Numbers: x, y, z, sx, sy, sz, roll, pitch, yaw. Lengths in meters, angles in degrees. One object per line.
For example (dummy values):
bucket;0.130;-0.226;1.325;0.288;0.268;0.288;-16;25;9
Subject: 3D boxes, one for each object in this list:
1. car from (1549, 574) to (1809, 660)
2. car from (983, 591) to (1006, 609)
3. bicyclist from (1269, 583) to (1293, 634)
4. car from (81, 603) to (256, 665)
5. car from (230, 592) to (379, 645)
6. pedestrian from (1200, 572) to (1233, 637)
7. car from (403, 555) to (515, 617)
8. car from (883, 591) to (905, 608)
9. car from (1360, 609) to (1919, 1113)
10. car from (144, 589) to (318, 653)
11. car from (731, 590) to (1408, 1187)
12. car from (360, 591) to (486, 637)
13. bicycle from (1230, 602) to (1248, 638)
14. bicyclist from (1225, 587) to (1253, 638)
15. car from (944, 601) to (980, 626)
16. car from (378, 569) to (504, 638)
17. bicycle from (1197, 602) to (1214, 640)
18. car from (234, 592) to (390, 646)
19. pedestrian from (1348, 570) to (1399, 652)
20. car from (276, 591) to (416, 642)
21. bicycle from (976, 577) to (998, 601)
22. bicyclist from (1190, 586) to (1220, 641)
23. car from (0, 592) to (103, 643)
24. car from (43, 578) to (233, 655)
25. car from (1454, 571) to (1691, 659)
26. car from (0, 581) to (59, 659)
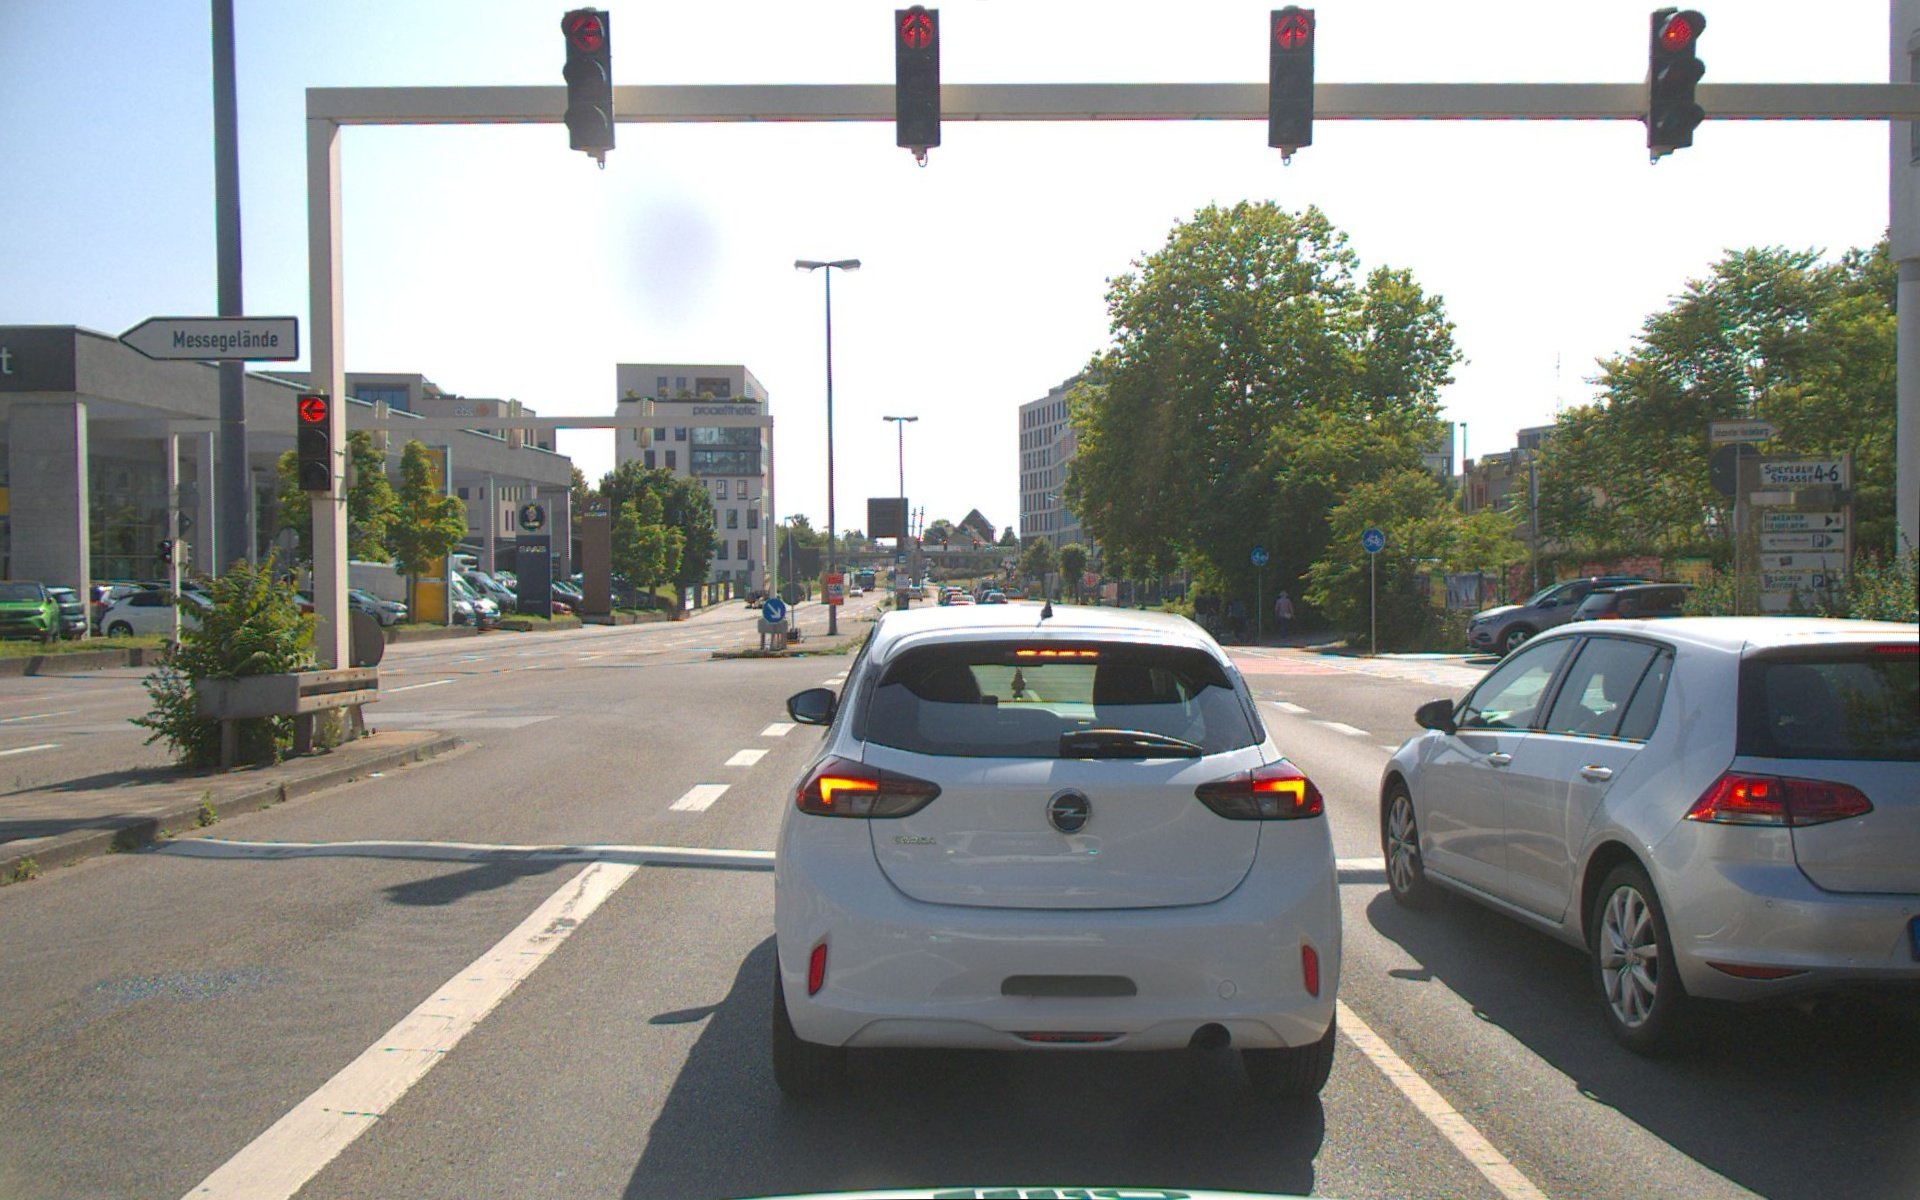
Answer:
car;13.105;0.295;30.275;3.913;1.467;1.996;-1;0;-9
car;2.810;0.003;135.098;1.769;1.410;3.999;1;-1;-1
bicyclist;10.639;0.275;54.816;0.639;1.666;0.659;1;-1;-1
car;-21.892;0.926;45.868;3.912;1.627;1.997;-1;0;-8
car;-22.132;0.601;55.975;4.270;1.726;1.999;-1;0;-4
pedestrian;9.178;0.154;59.192;1.006;2.278;1.038;0;0;-1
car;-21.984;-0.589;72.711;4.265;2.646;2.001;0;0;4
car;-5.597;-0.012;141.604;1.769;1.410;3.999;1;-1;-1
car;3.120;0.776;6.900;1.771;1.454;3.998;0;0;-3
car;-21.387;0.604;48.625;4.211;1.796;1.999;-1;0;-4
car;0.253;0.735;6.283;1.743;1.520;3.999;0;0;-1
car;-21.066;0.550;64.963;4.265;1.726;2.001;-1;0;4
bicycle;9.176;0.670;54.427;0.366;1.167;1.034;1;-1;-3
bicyclist;9.179;0.399;54.422;0.675;1.672;0.775;0;0;-9
car;0.123;0.755;92.551;1.952;1.355;4.000;1;-1;0
car;-21.138;0.133;67.411;4.401;2.731;2.130;0;0;8
bicycle;8.207;0.704;55.340;0.365;1.238;1.153;1;0;-1
car;-21.016;0.608;53.767;4.270;1.726;1.999;0;0;-3
pedestrian;10.468;0.267;41.903;1.006;2.049;1.038;0;0;-1
car;-21.930;0.575;59.183;4.270;1.726;1.999;-1;0;-4
bicycle;2.529;-1.043;155.552;1.953;2.195;3.999;0;0;-1
bicyclist;8.203;0.439;55.361;0.861;1.803;0.863;0;0;-1
car;-26.263;0.527;45.527;4.276;1.290;1.996;-2;-1;-9
car;-20.728;0.395;41.843;3.793;1.870;1.999;-1;0;-4
car;12.791;0.305;34.797;4.325;1.578;2.002;-3;0;10
car;-22.559;0.486;38.948;1.887;1.764;3.250;-1;-1;-37
